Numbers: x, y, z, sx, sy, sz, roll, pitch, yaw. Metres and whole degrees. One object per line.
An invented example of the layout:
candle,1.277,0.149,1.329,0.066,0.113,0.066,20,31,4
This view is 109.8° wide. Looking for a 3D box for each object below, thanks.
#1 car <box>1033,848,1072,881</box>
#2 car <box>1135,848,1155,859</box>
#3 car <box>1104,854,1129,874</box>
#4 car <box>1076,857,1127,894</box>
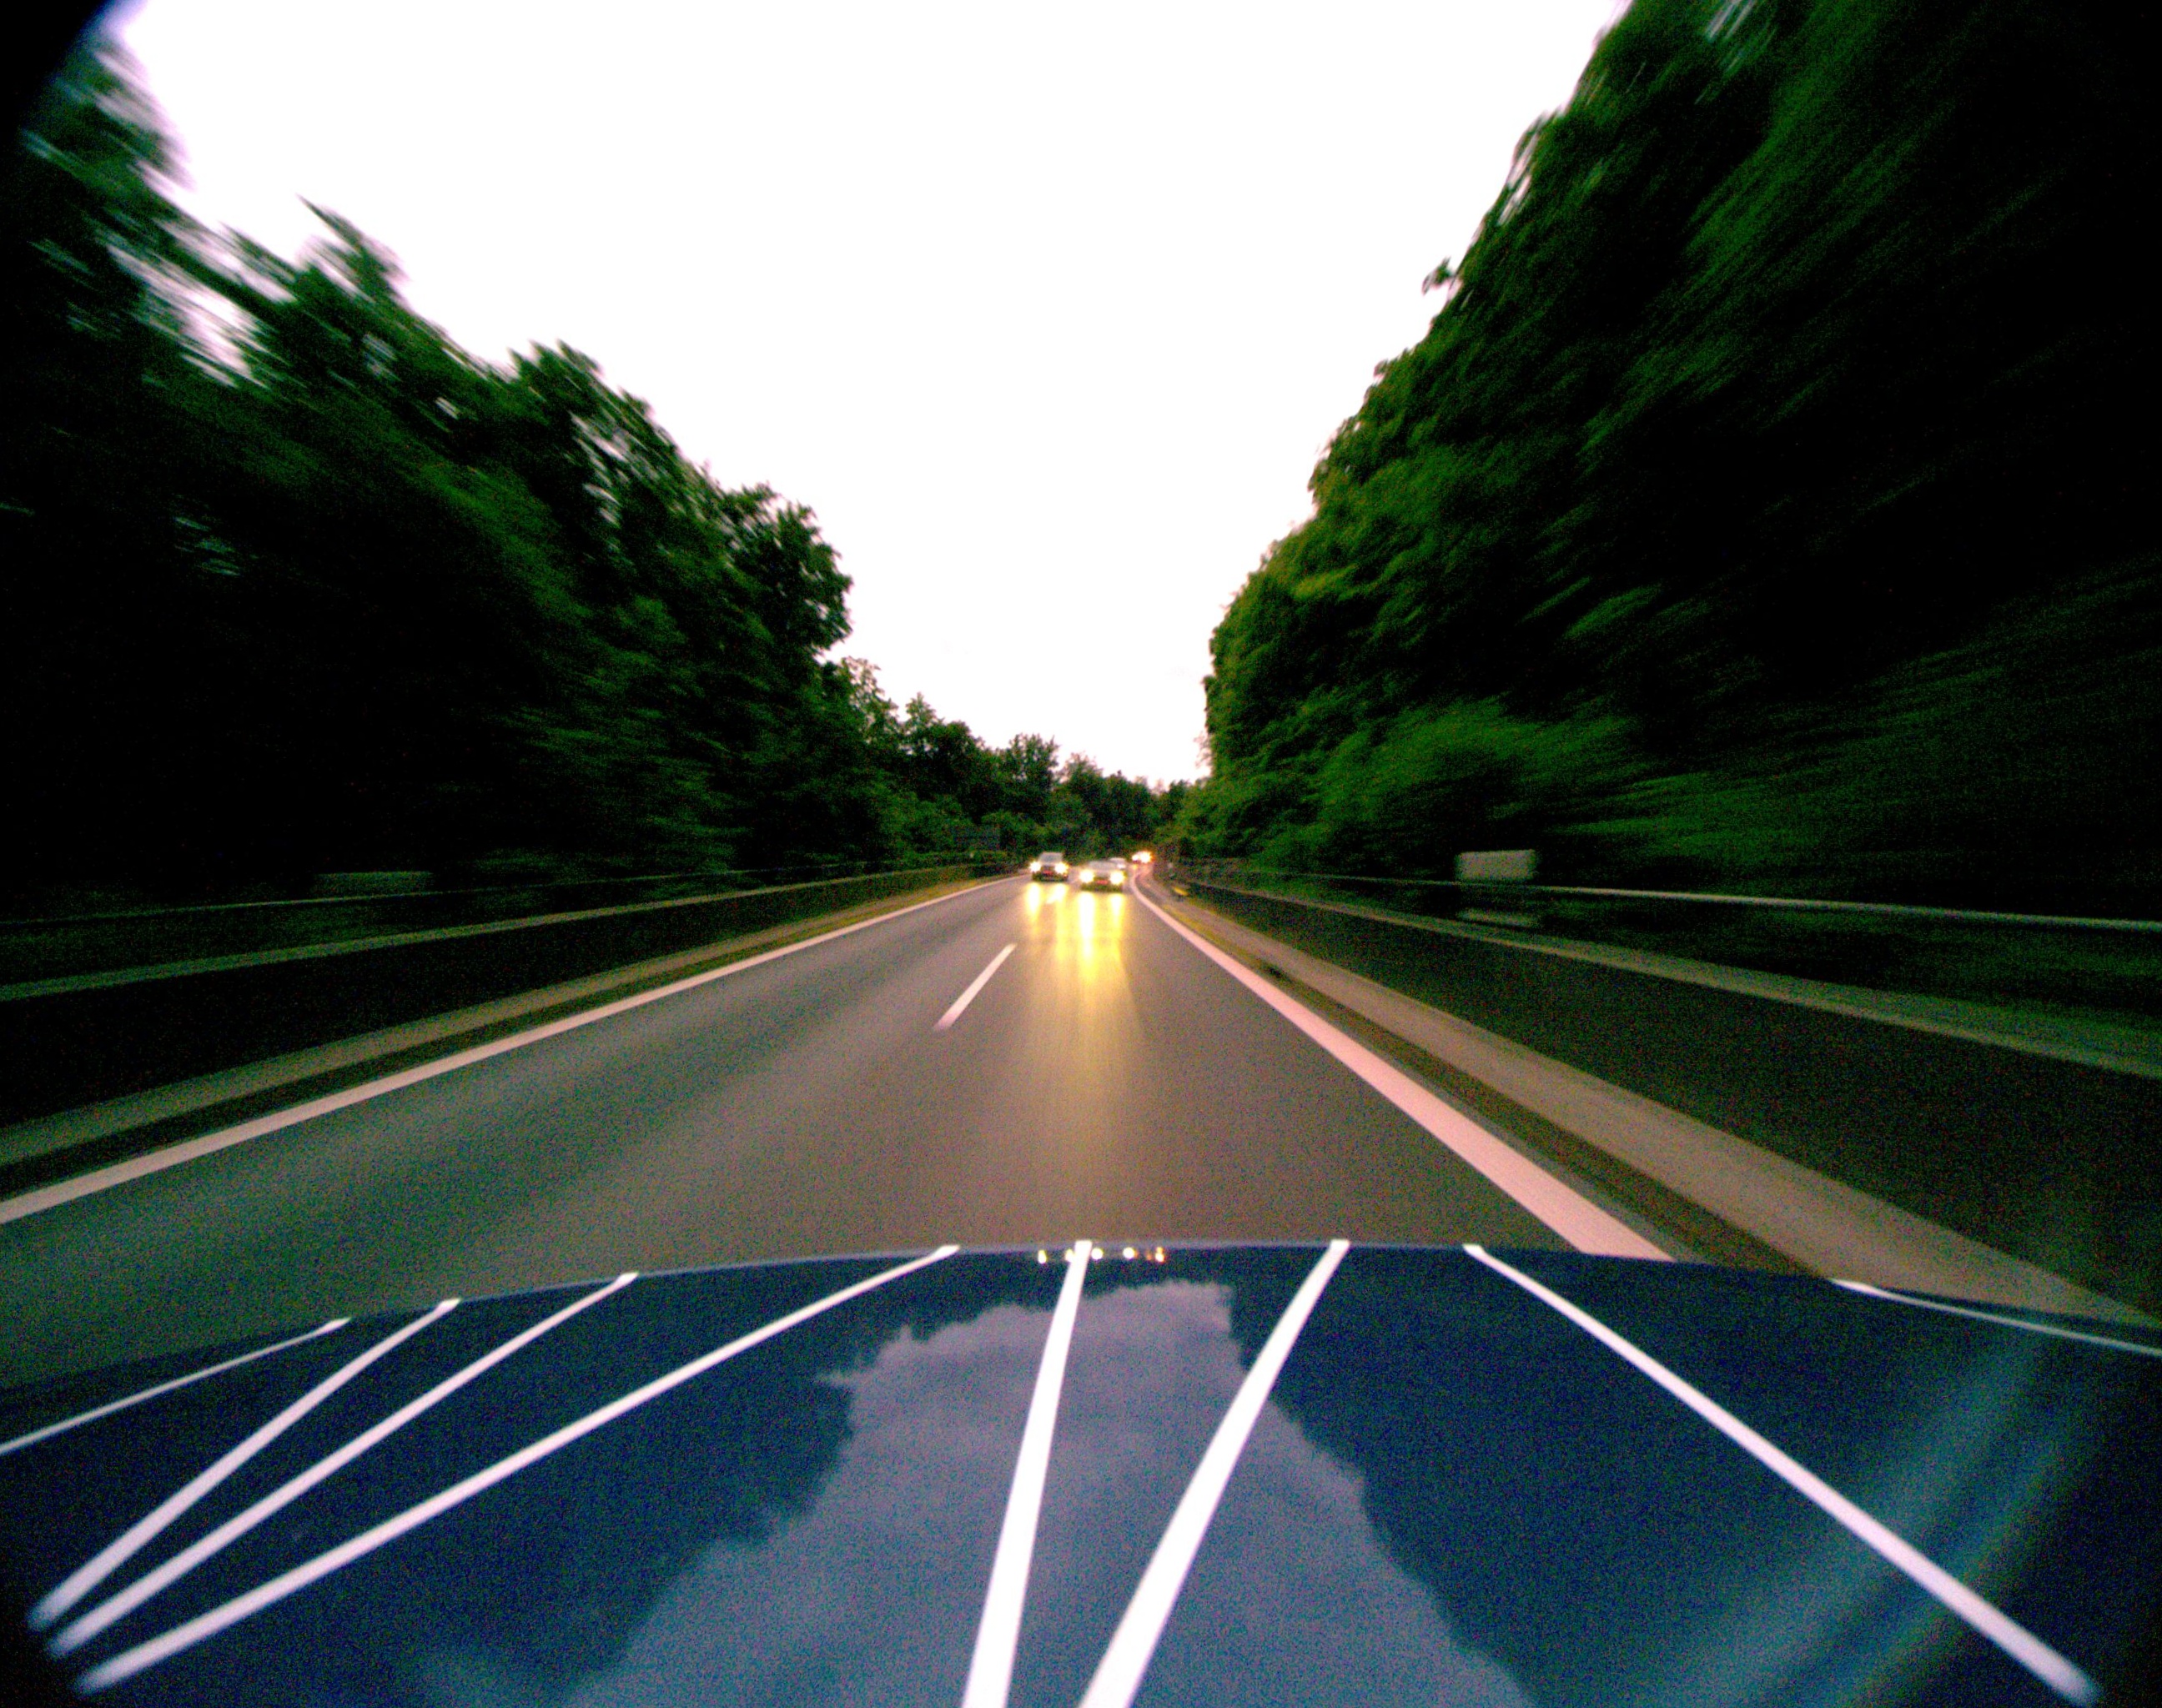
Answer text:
car,-1.626,0.575,44.666,1.998,1.631,3.999,3,2,0
car,9.997,-0.073,117.853,1.995,1.608,4.006,2,0,21
car,2.966,0.811,63.144,1.998,1.499,4.000,1,1,2
car,1.015,0.943,35.812,1.997,1.499,4.002,3,1,6
